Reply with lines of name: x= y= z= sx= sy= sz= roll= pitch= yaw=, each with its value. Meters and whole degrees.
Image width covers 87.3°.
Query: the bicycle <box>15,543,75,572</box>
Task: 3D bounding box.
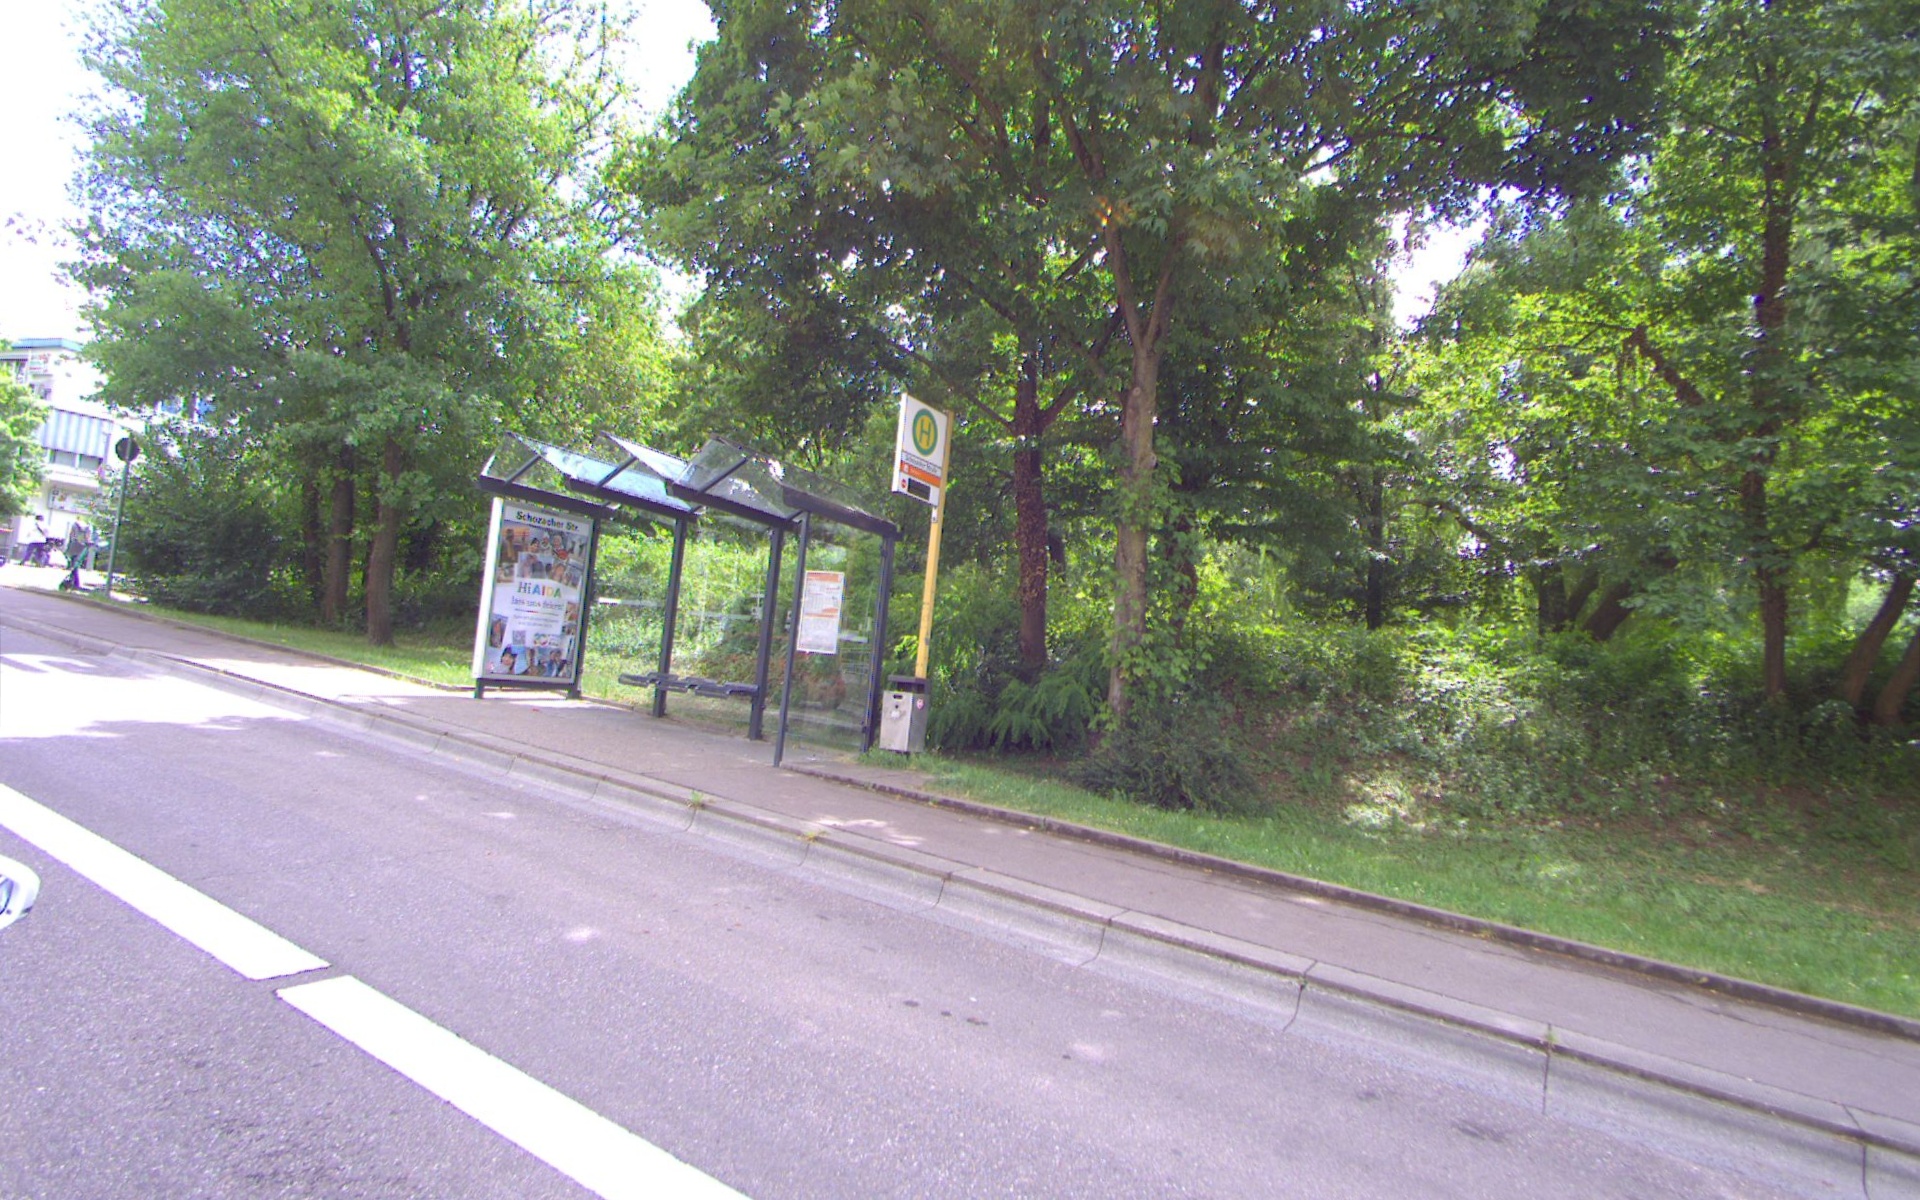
bicycle: x=-26.708 y=-1.231 z=29.360 sx=1.561 sy=0.616 sz=0.535 roll=7 pitch=-4 yaw=19

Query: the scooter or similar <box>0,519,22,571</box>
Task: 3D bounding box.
scooter or similar: x=-24.904 y=-1.484 z=25.704 sx=0.546 sy=1.286 sz=1.153 roll=6 pitch=-3 yaw=34

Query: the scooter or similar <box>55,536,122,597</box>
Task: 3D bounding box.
scooter or similar: x=-20.305 y=-0.776 z=23.460 sx=0.447 sy=1.242 sz=0.893 roll=6 pitch=-6 yaw=32

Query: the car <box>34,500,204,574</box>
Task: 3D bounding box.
car: x=-32.957 y=-2.405 z=39.592 sx=1.964 sy=2.035 sz=4.554 roll=6 pitch=-4 yaw=24

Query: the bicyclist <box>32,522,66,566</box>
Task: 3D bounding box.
bicyclist: x=-26.600 y=-1.628 z=29.365 sx=0.392 sy=1.170 sz=0.503 roll=7 pitch=-1 yaw=20

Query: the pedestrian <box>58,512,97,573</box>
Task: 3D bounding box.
pedestrian: x=-26.477 y=-1.720 z=30.192 sx=0.653 sy=1.733 sz=0.458 roll=8 pitch=-1 yaw=-32
